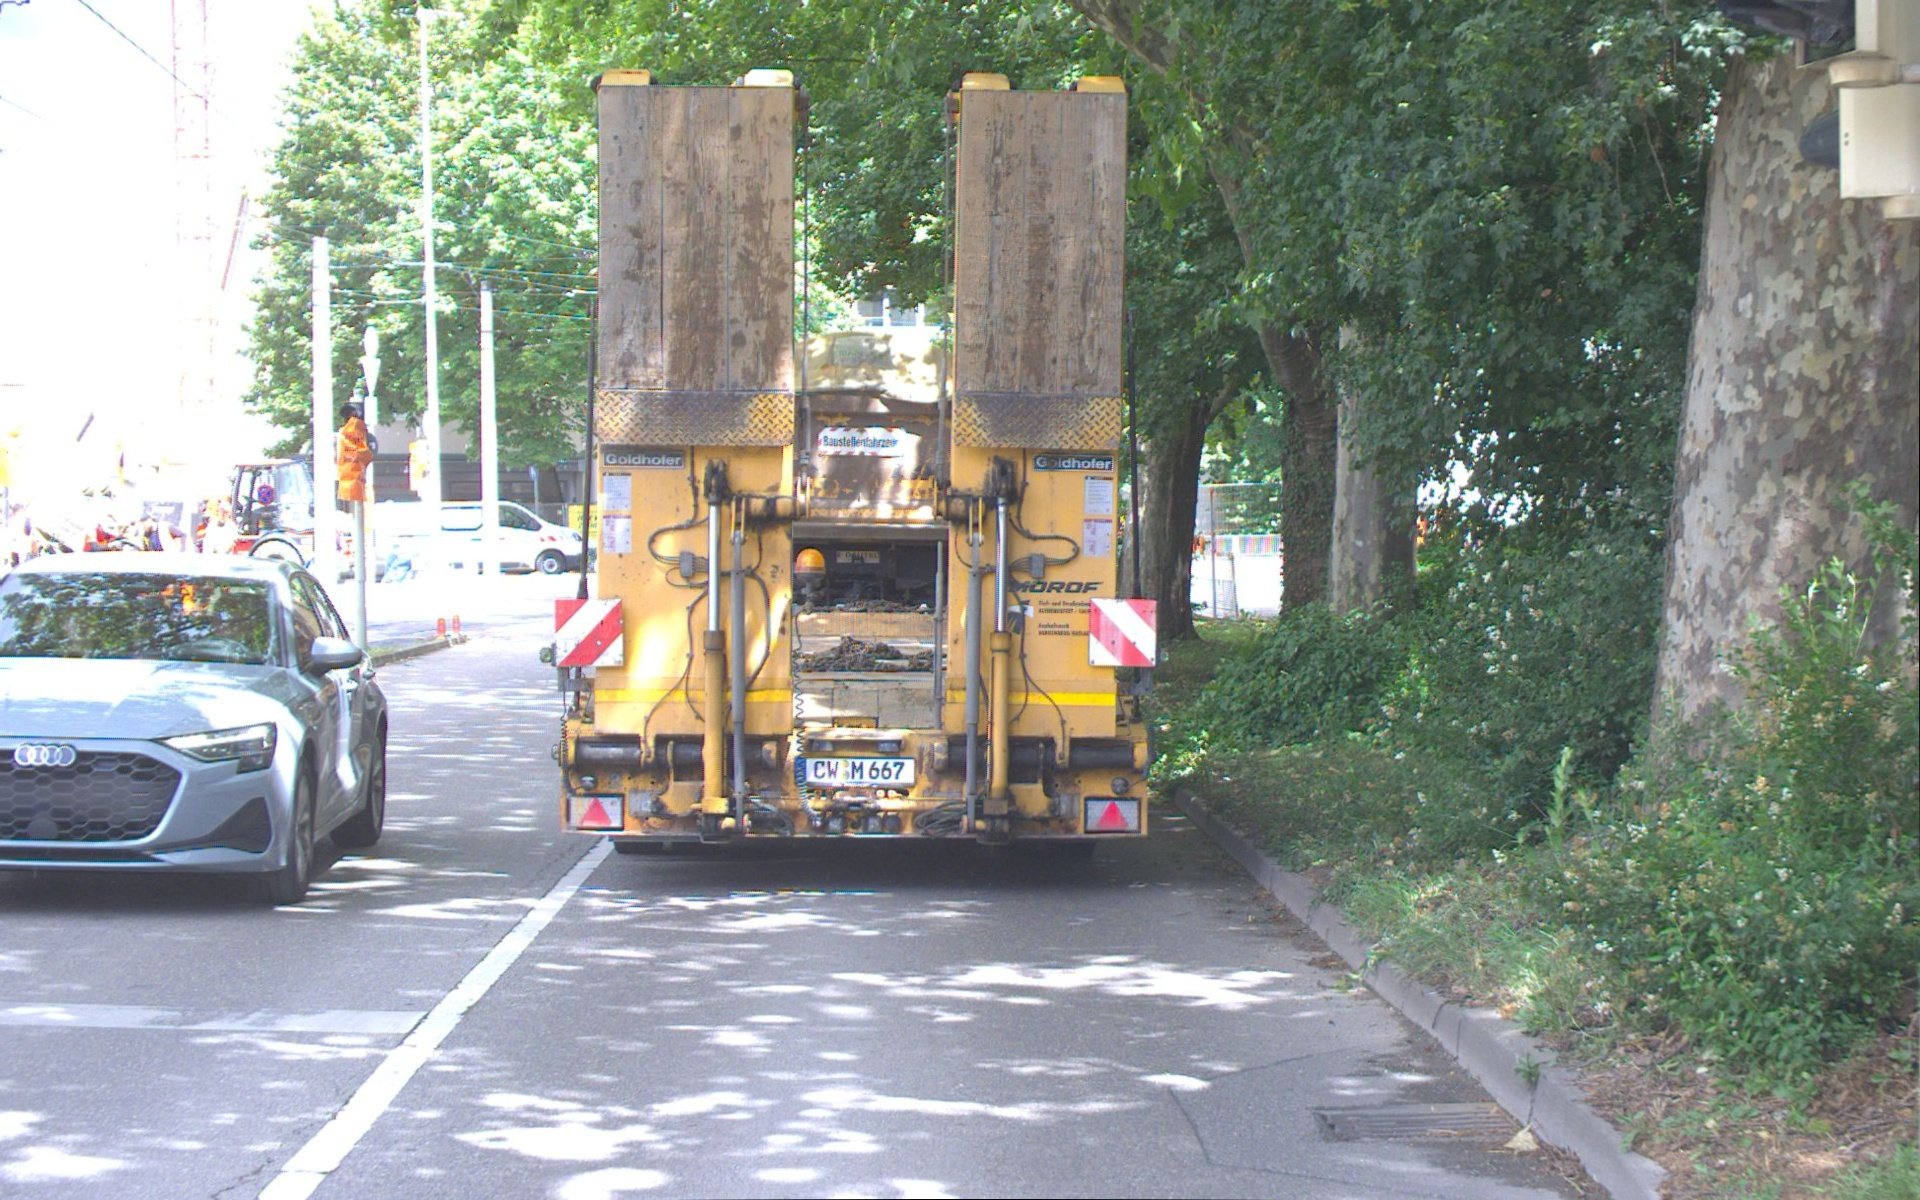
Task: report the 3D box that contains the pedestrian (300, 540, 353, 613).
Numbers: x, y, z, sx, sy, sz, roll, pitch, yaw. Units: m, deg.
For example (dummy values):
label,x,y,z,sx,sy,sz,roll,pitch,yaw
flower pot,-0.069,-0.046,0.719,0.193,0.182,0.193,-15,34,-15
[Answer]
label,x,y,z,sx,sy,sz,roll,pitch,yaw
pedestrian,-12.407,-0.461,67.326,0.916,1.404,0.753,1,1,-3

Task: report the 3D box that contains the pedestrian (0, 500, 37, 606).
label,x,y,z,sx,sy,sz,roll,pitch,yaw
pedestrian,-15.065,-0.739,53.782,0.836,1.639,0.886,1,1,42

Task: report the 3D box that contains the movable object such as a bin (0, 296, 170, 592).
label,x,y,z,sx,sy,sz,roll,pitch,yaw
movable object such as a bin,-19.672,-2.919,65.804,9.214,5.396,2.660,1,1,26

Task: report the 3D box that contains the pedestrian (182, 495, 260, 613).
label,x,y,z,sx,sy,sz,roll,pitch,yaw
pedestrian,-11.804,-0.731,54.910,0.887,1.861,0.836,1,1,28

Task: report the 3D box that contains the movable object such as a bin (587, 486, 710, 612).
label,x,y,z,sx,sy,sz,roll,pitch,yaw
movable object such as a bin,-5.113,-0.842,56.647,1.399,2.007,2.555,1,1,10

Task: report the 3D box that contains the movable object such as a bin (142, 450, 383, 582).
label,x,y,z,sx,sy,sz,roll,pitch,yaw
movable object such as a bin,-14.265,-1.712,70.341,4.372,2.620,2.217,1,1,26

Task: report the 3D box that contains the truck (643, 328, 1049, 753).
label,x,y,z,sx,sy,sz,roll,pitch,yaw
truck,-0.926,-0.489,29.479,2.989,3.124,7.888,1,1,-1

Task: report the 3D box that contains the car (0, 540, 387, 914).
label,x,y,z,sx,sy,sz,roll,pitch,yaw
car,-3.560,0.455,15.123,1.635,1.430,3.852,0,1,-3

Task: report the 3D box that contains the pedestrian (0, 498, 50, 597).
label,x,y,z,sx,sy,sz,roll,pitch,yaw
pedestrian,-15.772,-0.880,57.615,0.885,1.639,0.900,0,1,-24

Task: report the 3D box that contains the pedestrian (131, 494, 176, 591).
label,x,y,z,sx,sy,sz,roll,pitch,yaw
pedestrian,-15.647,-1.118,66.695,0.834,1.861,0.888,0,1,-13

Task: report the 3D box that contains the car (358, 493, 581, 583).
label,x,y,z,sx,sy,sz,roll,pitch,yaw
car,-11.795,-1.479,82.561,5.088,2.095,1.977,0,1,-15

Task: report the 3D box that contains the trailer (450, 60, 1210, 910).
label,x,y,z,sx,sy,sz,roll,pitch,yaw
trailer,-0.706,-0.550,19.993,3.154,3.540,11.098,1,1,-2

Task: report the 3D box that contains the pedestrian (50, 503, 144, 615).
label,x,y,z,sx,sy,sz,roll,pitch,yaw
pedestrian,-13.341,-0.629,53.142,0.888,1.709,1.108,1,1,45

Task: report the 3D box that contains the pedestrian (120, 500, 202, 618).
label,x,y,z,sx,sy,sz,roll,pitch,yaw
pedestrian,-11.990,-0.621,51.624,0.886,1.754,0.836,1,1,17

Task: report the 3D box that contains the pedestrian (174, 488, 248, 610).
label,x,y,z,sx,sy,sz,roll,pitch,yaw
pedestrian,-11.466,-0.780,52.648,0.885,1.861,0.837,0,1,-30
